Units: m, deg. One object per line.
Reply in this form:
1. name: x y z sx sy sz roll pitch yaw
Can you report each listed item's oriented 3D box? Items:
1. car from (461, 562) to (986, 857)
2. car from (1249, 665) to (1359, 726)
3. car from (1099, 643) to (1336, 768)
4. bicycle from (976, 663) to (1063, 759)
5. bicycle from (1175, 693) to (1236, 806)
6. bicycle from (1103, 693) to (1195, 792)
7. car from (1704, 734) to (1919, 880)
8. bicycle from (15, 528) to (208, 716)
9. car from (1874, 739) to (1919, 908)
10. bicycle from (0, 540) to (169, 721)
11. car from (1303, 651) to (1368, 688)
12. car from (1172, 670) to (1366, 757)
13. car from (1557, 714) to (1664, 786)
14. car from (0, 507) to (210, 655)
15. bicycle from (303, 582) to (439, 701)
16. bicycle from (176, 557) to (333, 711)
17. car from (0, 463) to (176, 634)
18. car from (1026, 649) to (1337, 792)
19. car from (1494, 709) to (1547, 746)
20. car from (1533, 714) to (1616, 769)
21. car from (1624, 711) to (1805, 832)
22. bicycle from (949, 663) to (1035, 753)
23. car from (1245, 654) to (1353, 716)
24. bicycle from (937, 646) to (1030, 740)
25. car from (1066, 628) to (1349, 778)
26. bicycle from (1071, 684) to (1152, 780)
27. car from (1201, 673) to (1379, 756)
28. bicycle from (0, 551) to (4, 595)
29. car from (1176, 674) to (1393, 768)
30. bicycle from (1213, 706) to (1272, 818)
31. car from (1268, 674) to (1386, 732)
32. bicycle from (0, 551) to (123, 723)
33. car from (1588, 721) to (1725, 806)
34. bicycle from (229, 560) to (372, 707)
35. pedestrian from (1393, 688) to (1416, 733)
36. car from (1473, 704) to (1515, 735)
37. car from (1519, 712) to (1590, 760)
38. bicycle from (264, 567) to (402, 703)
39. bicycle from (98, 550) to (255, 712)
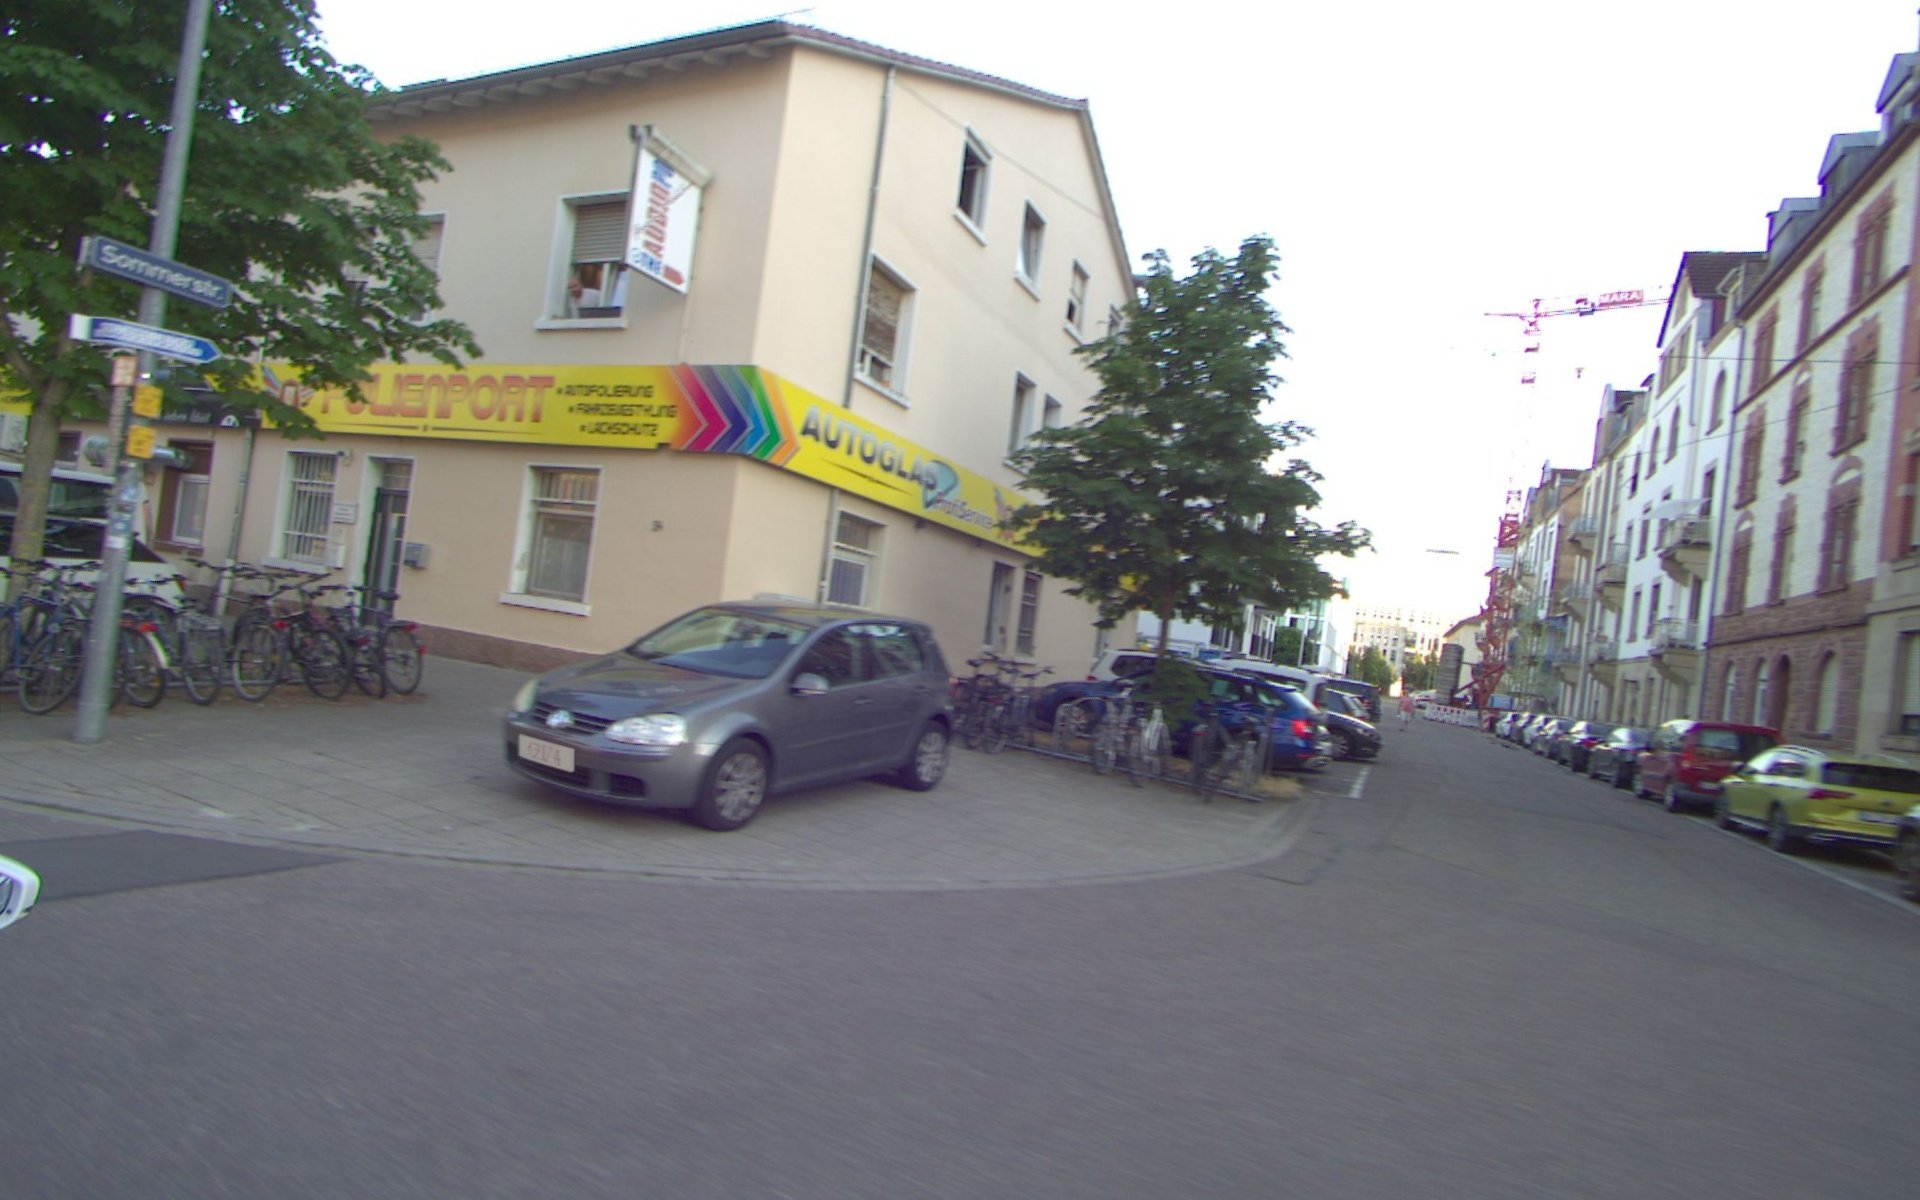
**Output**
1. car: -1.523 0.754 8.027 1.725 1.533 4.059 8 0 27
2. car: 15.342 4.227 44.859 4.258 2.194 1.877 5 -2 28
3. car: 5.202 2.059 20.352 4.256 1.924 1.878 5 -2 25
4. bicycle: 0.783 1.404 12.737 0.337 1.082 1.737 9 -2 25
5. bicycle: 2.891 1.691 11.753 0.420 1.141 1.927 7 -2 18
6. bicycle: 2.280 1.668 11.945 0.420 1.021 1.856 9 -2 27
7. car: 12.689 2.936 14.941 1.639 1.494 4.332 5 -2 24
8. bicycle: -7.064 0.152 8.340 1.982 1.320 0.386 6 1 27
9. car: 10.396 2.318 9.058 1.845 1.692 4.332 5 -2 24
10. bicycle: -7.180 0.208 8.101 1.982 1.215 0.386 6 1 27
11. car: 28.109 5.219 75.270 4.256 2.301 1.878 5 -2 25
12. car: 7.622 2.736 24.811 4.256 1.555 1.878 5 -2 25
13. car: 19.131 4.350 29.779 1.845 1.615 4.577 5 -2 24
14. car: -10.514 -0.270 10.463 1.736 1.469 3.928 7 0 24
15. bicycle: -6.039 0.409 10.296 1.455 1.029 0.388 6 0 27
16. bicycle: -6.452 0.291 9.182 1.455 1.215 0.446 7 0 27
17. car: -12.803 -0.770 11.923 2.181 2.008 5.000 6 0 27
18. car: 3.532 1.836 16.109 4.490 1.527 1.746 6 -1 24
19. car: 28.291 6.408 50.890 1.845 1.485 4.332 5 -2 24
20. car: 21.441 4.895 35.247 1.845 1.485 4.332 5 -2 24
21. car: 14.791 3.269 19.997 1.845 1.814 4.332 5 -2 24
22. bicycle: 0.432 1.380 12.799 0.337 1.031 1.608 9 -2 25
23. car: 16.843 4.213 50.069 4.737 2.514 1.878 5 -2 25
24. bicycle: 0.360 1.299 13.796 0.337 1.162 1.866 9 -2 27
25. car: 4.455 1.774 18.160 4.495 1.853 1.878 8 -1 25
26. bicycle: 1.876 1.600 12.287 0.337 1.053 1.607 9 -2 27
27. car: 8.829 3.001 26.920 4.255 1.659 1.945 5 -2 24
28. bicycle: -7.604 0.162 7.198 1.982 1.215 0.386 6 1 27
29. car: 7.137 2.598 22.145 4.256 1.462 1.792 5 -2 25
30. bicycle: 3.268 1.811 11.551 0.420 1.087 1.858 9 -2 18
31. car: 14.930 4.144 40.926 4.256 1.802 1.961 5 -2 25
32. bicycle: -7.323 0.237 7.851 1.982 1.128 0.386 6 0 27
33. car: 16.667 3.859 24.311 1.845 1.485 4.332 5 -2 24
34. bicycle: -6.266 0.299 9.536 1.455 1.215 0.353 7 1 27
35. pedestrian: 18.176 4.534 41.138 0.644 1.734 0.741 7 -2 24
36. car: 31.842 7.091 60.072 1.845 1.485 4.332 5 -2 24
37. car: 23.722 5.408 40.294 1.845 1.485 4.332 5 -2 24
38. bicycle: -6.179 0.327 9.896 1.455 1.157 0.353 7 1 27
39. bicycle: -6.748 0.248 8.650 1.455 1.215 0.386 7 1 27
